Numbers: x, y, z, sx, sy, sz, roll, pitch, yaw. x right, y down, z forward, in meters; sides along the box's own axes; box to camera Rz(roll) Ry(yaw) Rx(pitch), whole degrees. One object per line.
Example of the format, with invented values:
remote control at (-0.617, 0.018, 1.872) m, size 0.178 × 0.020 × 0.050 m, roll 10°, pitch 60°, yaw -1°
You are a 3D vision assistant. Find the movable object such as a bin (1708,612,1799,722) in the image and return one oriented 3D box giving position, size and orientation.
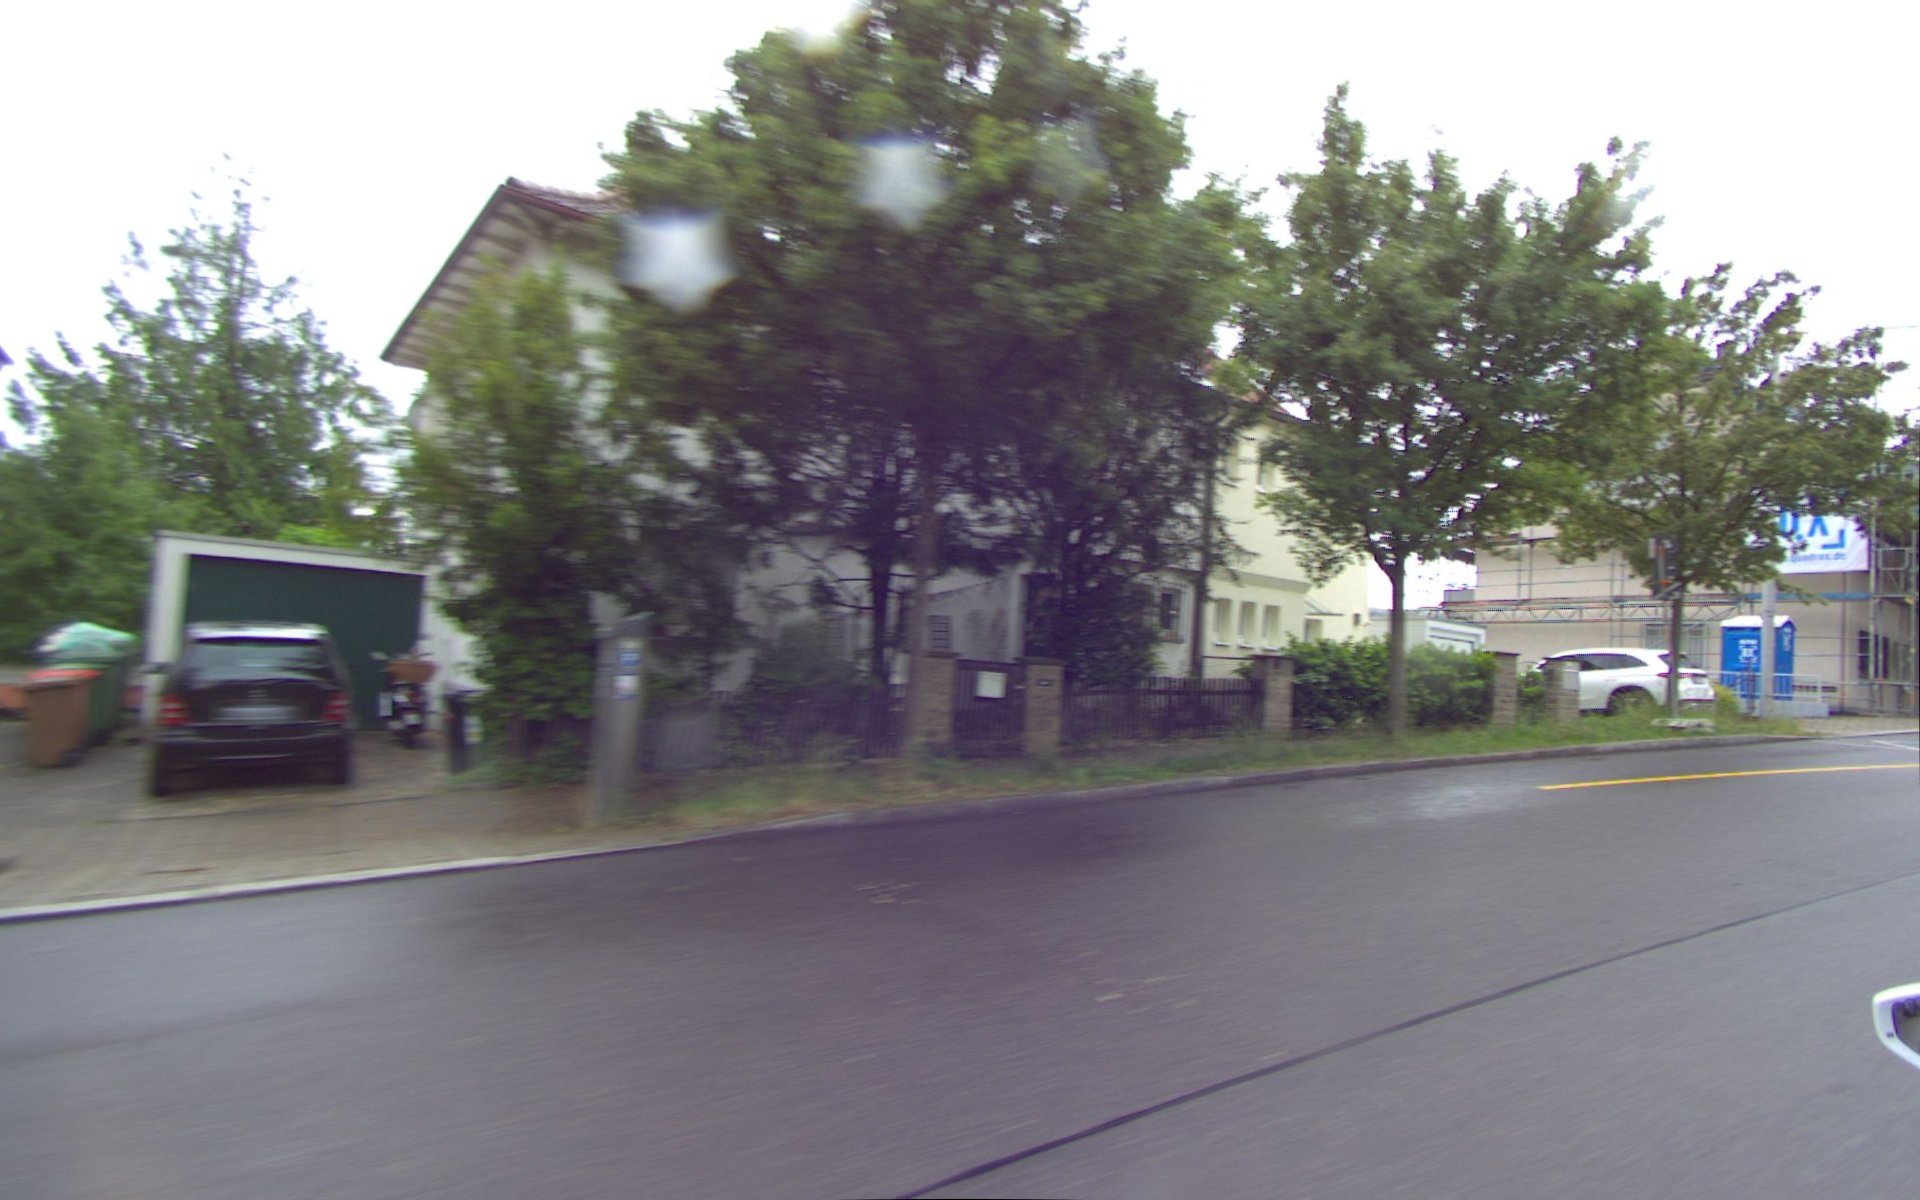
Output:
movable object such as a bin at (19.111, 1.589, 24.204) m, size 1.371 × 2.538 × 1.305 m, roll 2°, pitch -2°, yaw -32°

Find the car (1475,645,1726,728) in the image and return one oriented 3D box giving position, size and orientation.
car at (13.829, 1.898, 21.948) m, size 1.930 × 1.624 × 4.174 m, roll 3°, pitch -6°, yaw -33°

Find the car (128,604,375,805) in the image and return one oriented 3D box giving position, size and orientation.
car at (-7.628, 0.954, 10.967) m, size 1.845 × 1.563 × 3.914 m, roll 2°, pitch 2°, yaw -34°

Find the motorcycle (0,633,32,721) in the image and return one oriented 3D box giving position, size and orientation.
motorcycle at (-12.654, 1.000, 12.563) m, size 0.633 × 1.104 × 1.930 m, roll 3°, pitch -1°, yaw -14°

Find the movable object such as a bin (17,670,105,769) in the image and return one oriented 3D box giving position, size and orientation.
movable object such as a bin at (-9.424, 1.231, 10.552) m, size 0.586 × 0.933 × 0.682 m, roll 2°, pitch 0°, yaw -35°

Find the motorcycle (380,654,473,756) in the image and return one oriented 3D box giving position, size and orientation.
motorcycle at (-6.843, 1.302, 12.848) m, size 0.755 × 1.117 × 1.693 m, roll 4°, pitch -1°, yaw -37°

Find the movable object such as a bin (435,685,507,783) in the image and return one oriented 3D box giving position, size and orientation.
movable object such as a bin at (-5.244, 1.417, 10.770) m, size 0.586 × 0.933 × 0.665 m, roll 2°, pitch 0°, yaw -35°

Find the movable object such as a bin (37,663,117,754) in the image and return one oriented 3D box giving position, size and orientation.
movable object such as a bin at (-9.861, 1.197, 11.237) m, size 0.586 × 0.933 × 0.610 m, roll 2°, pitch 0°, yaw -35°
